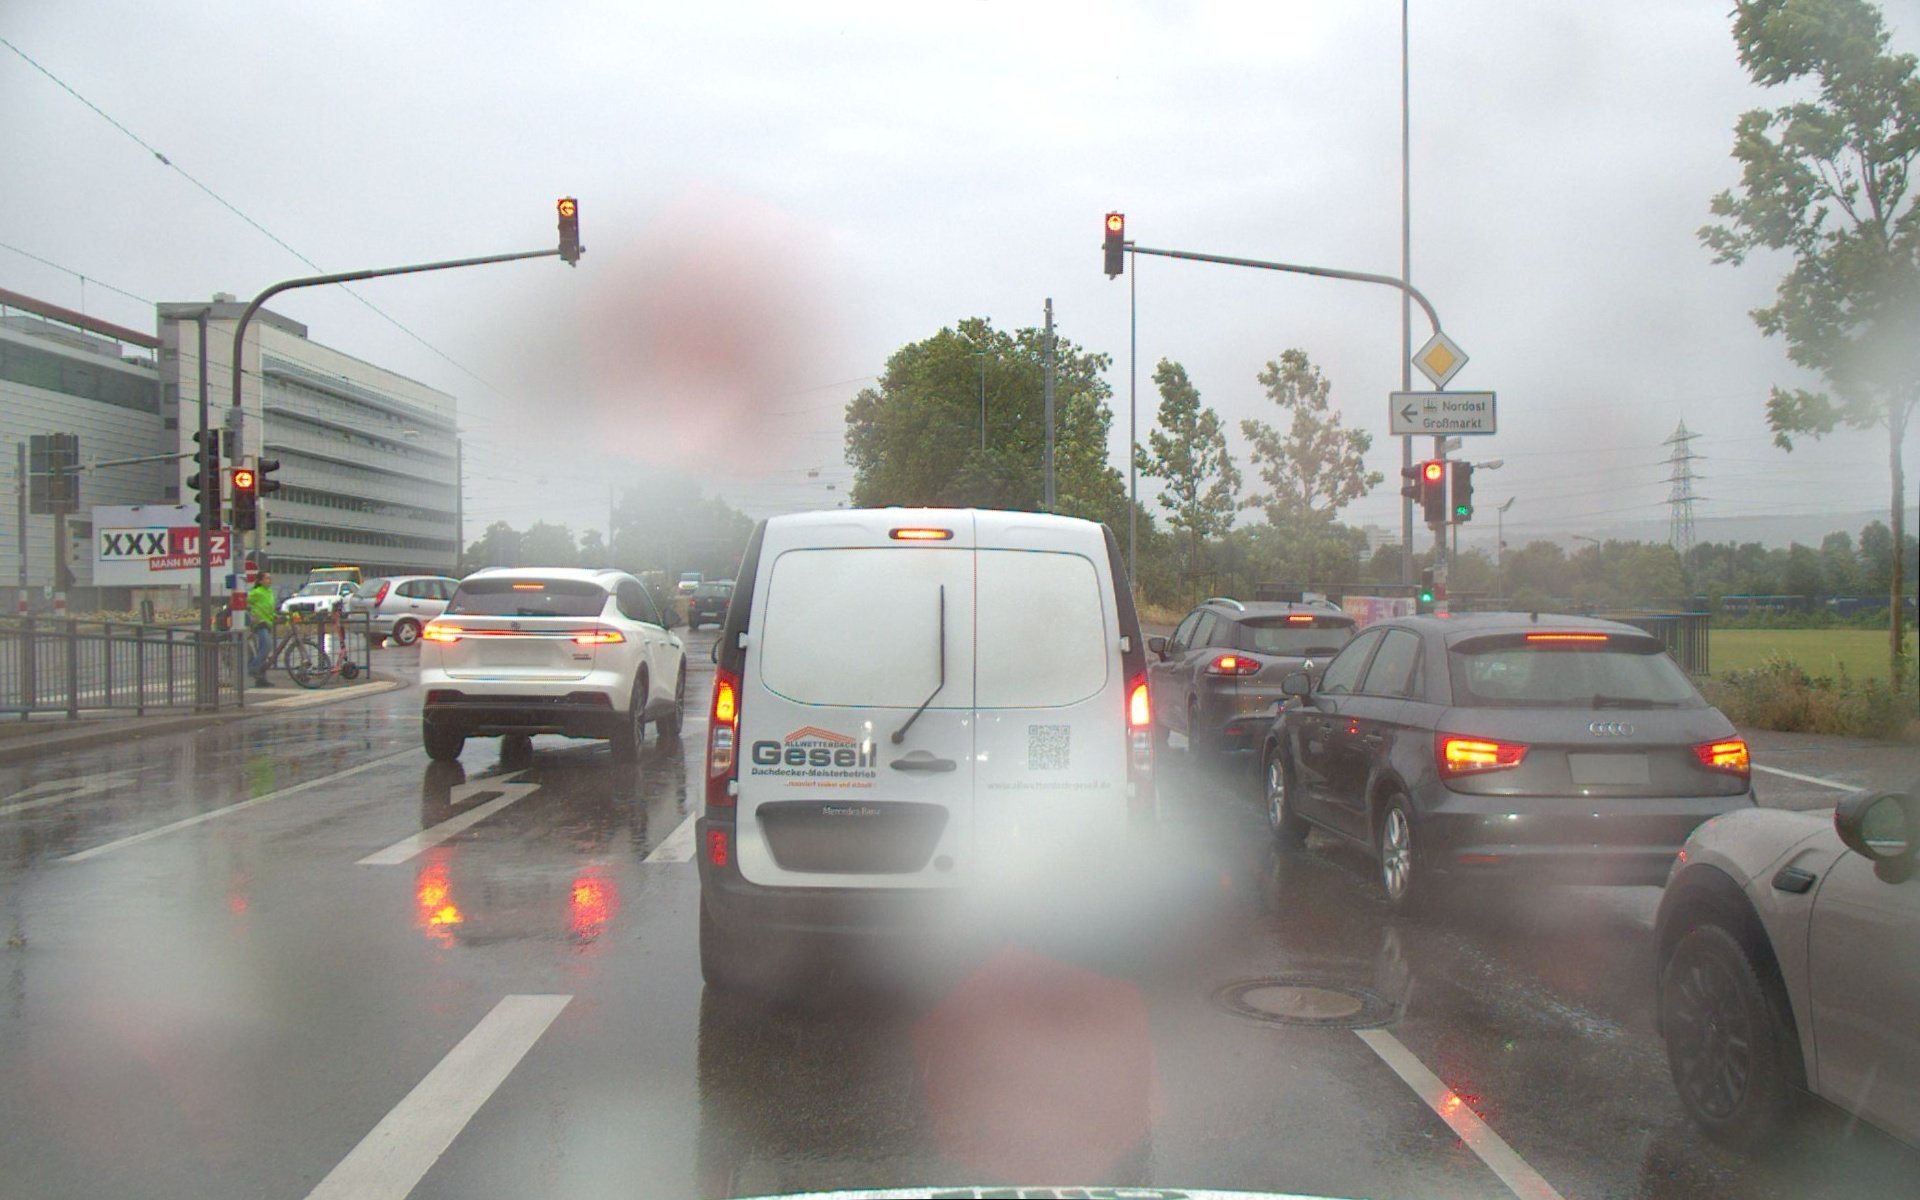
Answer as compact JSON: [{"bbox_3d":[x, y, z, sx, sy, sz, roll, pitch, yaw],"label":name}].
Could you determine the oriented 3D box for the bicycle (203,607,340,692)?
[{"bbox_3d":[-9.720,0.697,23.404,1.726,1.157,0.517,1,0,-19],"label":"bicycle"}]

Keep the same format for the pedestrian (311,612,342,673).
[{"bbox_3d":[-9.705,0.642,25.358,0.309,0.913,0.380,2,0,-3],"label":"pedestrian"}]

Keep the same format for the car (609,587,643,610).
[{"bbox_3d":[-22.682,-0.074,112.414,1.528,1.451,3.568,2,-1,-1],"label":"car"}]

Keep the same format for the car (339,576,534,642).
[{"bbox_3d":[-12.624,0.241,40.083,1.622,1.452,4.224,2,0,43],"label":"car"}]

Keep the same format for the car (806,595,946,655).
[{"bbox_3d":[-2.295,0.701,45.752,3.715,1.533,1.624,3,0,-45],"label":"car"}]

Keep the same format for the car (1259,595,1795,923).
[{"bbox_3d":[2.775,0.715,8.951,1.565,1.390,3.629,-1,-1,-1],"label":"car"}]

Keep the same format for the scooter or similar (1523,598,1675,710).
[{"bbox_3d":[7.629,0.599,19.932,0.676,1.232,3.020,0,0,0],"label":"scooter or similar"}]

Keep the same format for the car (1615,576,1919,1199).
[{"bbox_3d":[2.934,0.748,3.241,1.668,1.534,3.878,3,-1,-1],"label":"car"}]

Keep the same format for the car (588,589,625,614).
[{"bbox_3d":[-22.062,0.100,103.325,1.528,1.451,3.568,2,-1,-1],"label":"car"}]

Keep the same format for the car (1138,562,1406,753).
[{"bbox_3d":[2.776,0.473,15.530,1.650,1.534,3.919,1,0,-2],"label":"car"}]

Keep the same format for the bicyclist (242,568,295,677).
[{"bbox_3d":[-9.787,0.314,23.432,0.593,1.517,0.597,1,0,-17],"label":"bicyclist"}]

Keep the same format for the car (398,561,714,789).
[{"bbox_3d":[-3.624,0.611,15.773,1.891,1.806,4.663,1,0,-1],"label":"car"}]

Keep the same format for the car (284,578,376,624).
[{"bbox_3d":[-21.598,0.052,56.835,1.676,1.451,3.808,2,-1,-1],"label":"car"}]

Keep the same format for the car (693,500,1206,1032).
[{"bbox_3d":[-0.175,0.530,7.682,1.719,1.780,4.166,1,1,-4],"label":"car"}]

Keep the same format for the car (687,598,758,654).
[{"bbox_3d":[-7.276,0.779,51.007,1.602,1.549,3.774,4,0,-1],"label":"car"}]
